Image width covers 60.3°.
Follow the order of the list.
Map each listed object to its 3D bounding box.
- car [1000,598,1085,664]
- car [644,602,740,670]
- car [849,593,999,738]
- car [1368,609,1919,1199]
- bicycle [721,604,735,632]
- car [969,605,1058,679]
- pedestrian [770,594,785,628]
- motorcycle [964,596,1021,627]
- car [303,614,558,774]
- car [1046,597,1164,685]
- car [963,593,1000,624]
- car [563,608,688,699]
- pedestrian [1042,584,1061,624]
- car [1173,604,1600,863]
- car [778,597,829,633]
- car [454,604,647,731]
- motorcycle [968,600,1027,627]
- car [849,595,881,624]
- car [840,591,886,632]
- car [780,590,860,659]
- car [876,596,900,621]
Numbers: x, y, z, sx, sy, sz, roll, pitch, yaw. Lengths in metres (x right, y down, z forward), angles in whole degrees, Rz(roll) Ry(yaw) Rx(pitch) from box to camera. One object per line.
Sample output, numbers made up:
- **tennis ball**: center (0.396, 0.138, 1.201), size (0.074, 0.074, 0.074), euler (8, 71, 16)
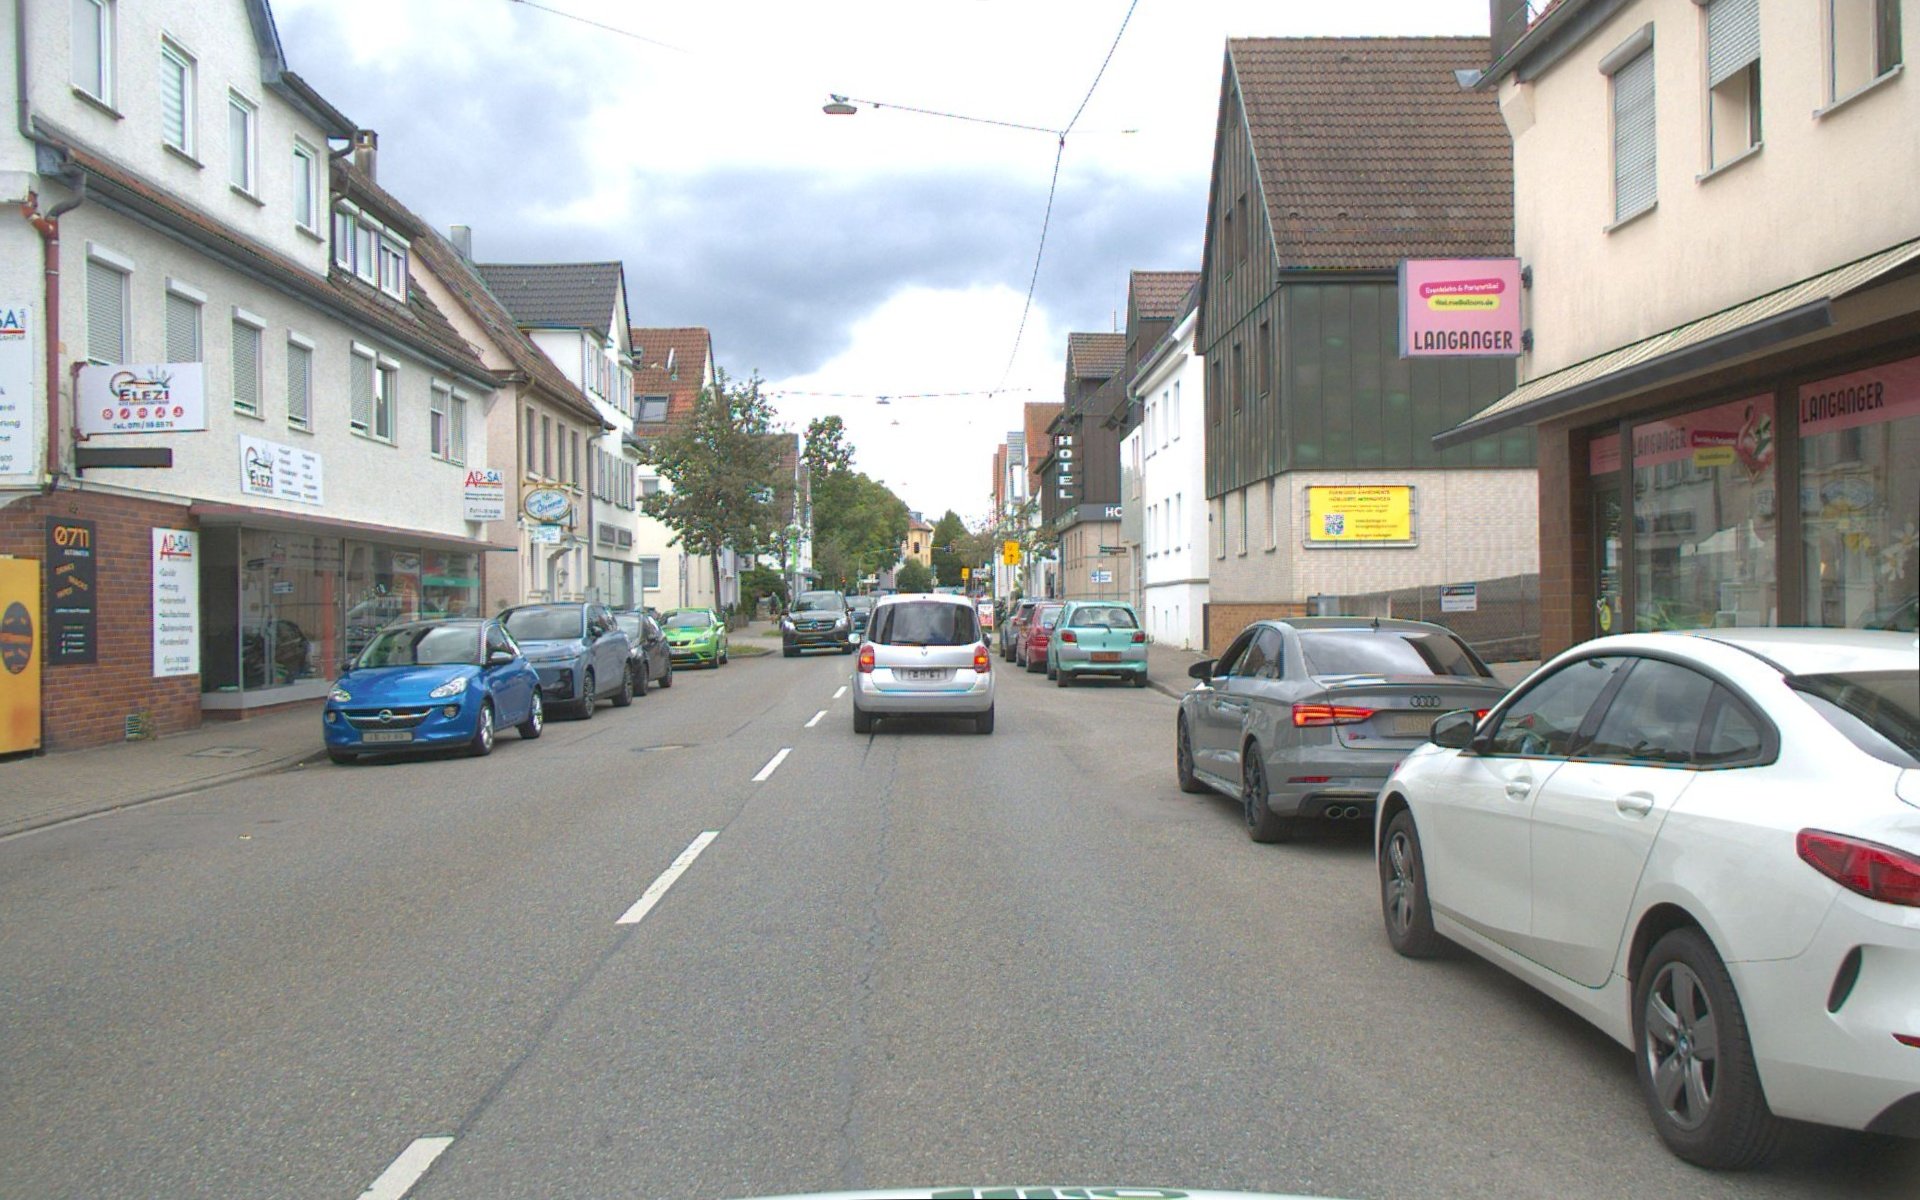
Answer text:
- **car**: center (2.003, 0.729, 41.327), size (1.837, 1.566, 4.512), euler (0, 0, -1)
- **car**: center (-6.470, 0.840, 40.311), size (1.648, 1.473, 4.020), euler (-3, 0, 0)
- **car**: center (-0.416, 0.722, 20.281), size (1.648, 1.593, 3.993), euler (0, 0, -1)
- **car**: center (2.868, 0.783, 5.566), size (1.794, 1.471, 4.330), euler (0, 0, -2)
- **bicycle**: center (-10.069, 0.776, 71.876), size (0.504, 1.174, 1.665), euler (0, 0, -4)
- **car**: center (1.086, 0.850, 35.362), size (1.719, 1.471, 4.454), euler (0, 0, -1)
- **pedestrian**: center (-10.119, 0.606, 91.622), size (0.747, 1.822, 0.889), euler (0, 0, -2)
- **motorcycle**: center (1.504, 0.513, 75.517), size (2.681, 1.359, 0.692), euler (0, 0, -32)
- **car**: center (-5.862, 0.974, 18.771), size (1.648, 1.525, 3.774), euler (-3, 0, -1)
- **car**: center (2.616, 0.708, 30.595), size (1.794, 1.524, 3.993), euler (0, 0, -1)
- **car**: center (1.066, 0.409, 83.467), size (1.666, 1.493, 4.237), euler (0, 0, -2)
- **car**: center (-6.029, 0.930, 30.161), size (1.549, 1.534, 3.811), euler (0, 0, -1)
- **pedestrian**: center (4.483, 0.189, 80.935), size (0.839, 1.961, 0.899), euler (0, 0, -1)
- **car**: center (2.722, 0.771, 11.562), size (1.794, 1.471, 4.108), euler (0, 0, -2)
- **car**: center (-7.126, 0.654, 75.802), size (1.909, 1.493, 4.515), euler (-3, 0, -1)
- **car**: center (-5.960, 0.923, 24.585), size (1.766, 1.627, 4.304), euler (-3, 0, -1)
- **motorcycle**: center (1.700, 0.591, 74.476), size (2.701, 1.204, 0.692), euler (0, 0, -32)
- **car**: center (-5.148, 0.496, 89.714), size (1.649, 1.473, 4.017), euler (-3, 0, -4)
- **car**: center (-4.138, 0.457, 71.001), size (1.758, 1.606, 4.191), euler (-3, 0, -1)
- **car**: center (-3.886, 0.645, 46.626), size (1.862, 1.767, 4.365), euler (-3, 0, -1)
- **car**: center (-5.914, 0.668, 136.049), size (1.913, 2.049, 3.999), euler (0, 0, -1)
